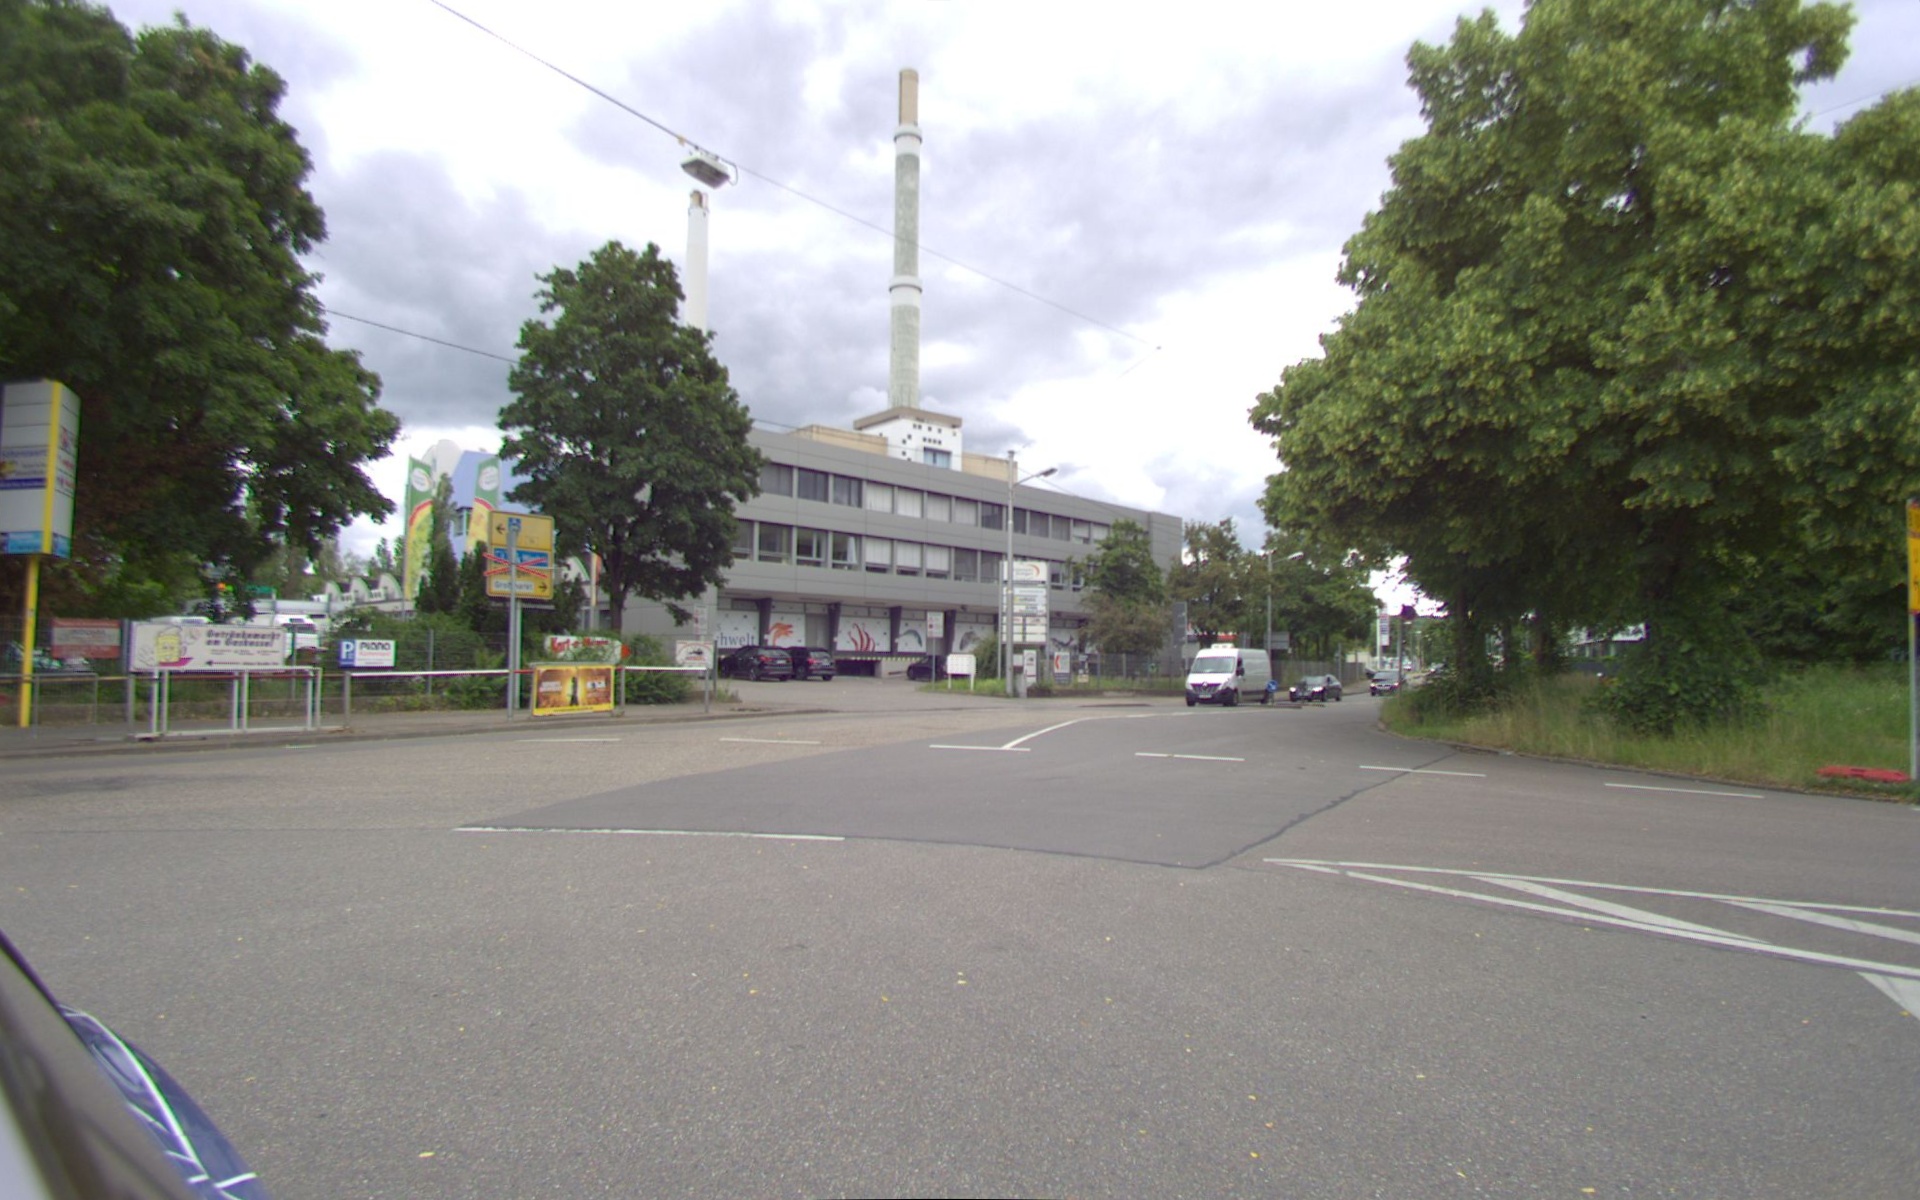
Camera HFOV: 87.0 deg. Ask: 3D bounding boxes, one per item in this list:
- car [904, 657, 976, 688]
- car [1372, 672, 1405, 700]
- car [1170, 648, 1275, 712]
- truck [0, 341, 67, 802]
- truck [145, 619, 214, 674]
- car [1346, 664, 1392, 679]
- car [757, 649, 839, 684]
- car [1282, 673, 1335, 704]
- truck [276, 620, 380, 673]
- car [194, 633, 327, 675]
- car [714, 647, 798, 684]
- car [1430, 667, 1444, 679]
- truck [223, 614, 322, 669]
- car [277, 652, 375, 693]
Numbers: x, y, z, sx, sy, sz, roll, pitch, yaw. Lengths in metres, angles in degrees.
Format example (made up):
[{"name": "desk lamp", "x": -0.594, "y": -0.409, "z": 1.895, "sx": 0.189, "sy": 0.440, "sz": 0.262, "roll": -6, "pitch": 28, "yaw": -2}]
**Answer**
[{"name": "car", "x": -1.156, "y": 3.939, "z": 55.534, "sx": 2.015, "sy": 1.456, "sz": 4.844, "roll": 2, "pitch": -2, "yaw": -27}, {"name": "car", "x": 26.933, "y": 5.388, "z": 63.679, "sx": 1.784, "sy": 1.653, "sz": 4.407, "roll": -1, "pitch": -4, "yaw": 22}, {"name": "car", "x": 11.059, "y": 3.310, "z": 42.334, "sx": 2.383, "sy": 2.478, "sz": 6.030, "roll": -3, "pitch": -5, "yaw": 33}, {"name": "truck", "x": -12.283, "y": -0.252, "z": 5.941, "sx": 10.250, "sy": 3.554, "sz": 2.804, "roll": 1, "pitch": -3, "yaw": -36}, {"name": "truck", "x": -63.516, "y": 3.803, "z": 82.242, "sx": 9.191, "sy": 4.198, "sz": 2.956, "roll": -3, "pitch": -5, "yaw": 44}, {"name": "car", "x": 53.281, "y": 9.325, "z": 131.873, "sx": 5.435, "sy": 1.884, "sz": 2.009, "roll": -2, "pitch": -4, "yaw": 26}, {"name": "car", "x": -8.209, "y": 3.330, "z": 50.938, "sx": 1.812, "sy": 1.630, "sz": 4.426, "roll": 4, "pitch": -4, "yaw": -45}, {"name": "car", "x": 18.463, "y": 4.649, "z": 53.531, "sx": 1.858, "sy": 1.524, "sz": 4.396, "roll": -2, "pitch": -4, "yaw": 29}, {"name": "truck", "x": -51.633, "y": 3.877, "z": 82.345, "sx": 15.724, "sy": 3.964, "sz": 2.812, "roll": -3, "pitch": -5, "yaw": 42}, {"name": "car", "x": -47.677, "y": 3.755, "z": 69.156, "sx": 2.244, "sy": 2.754, "sz": 7.050, "roll": -3, "pitch": -6, "yaw": 44}, {"name": "car", "x": -9.887, "y": 3.144, "z": 48.866, "sx": 1.811, "sy": 1.630, "sz": 4.469, "roll": 4, "pitch": -4, "yaw": -44}, {"name": "car", "x": 71.497, "y": 10.953, "z": 151.818, "sx": 1.786, "sy": 1.653, "sz": 4.403, "roll": -2, "pitch": -4, "yaw": 25}, {"name": "truck", "x": -54.048, "y": 3.373, "z": 79.264, "sx": 15.727, "sy": 3.964, "sz": 2.812, "roll": -3, "pitch": -5, "yaw": 43}, {"name": "car", "x": -20.701, "y": 2.346, "z": 33.011, "sx": 3.700, "sy": 1.258, "sz": 1.686, "roll": -3, "pitch": -5, "yaw": 41}]
